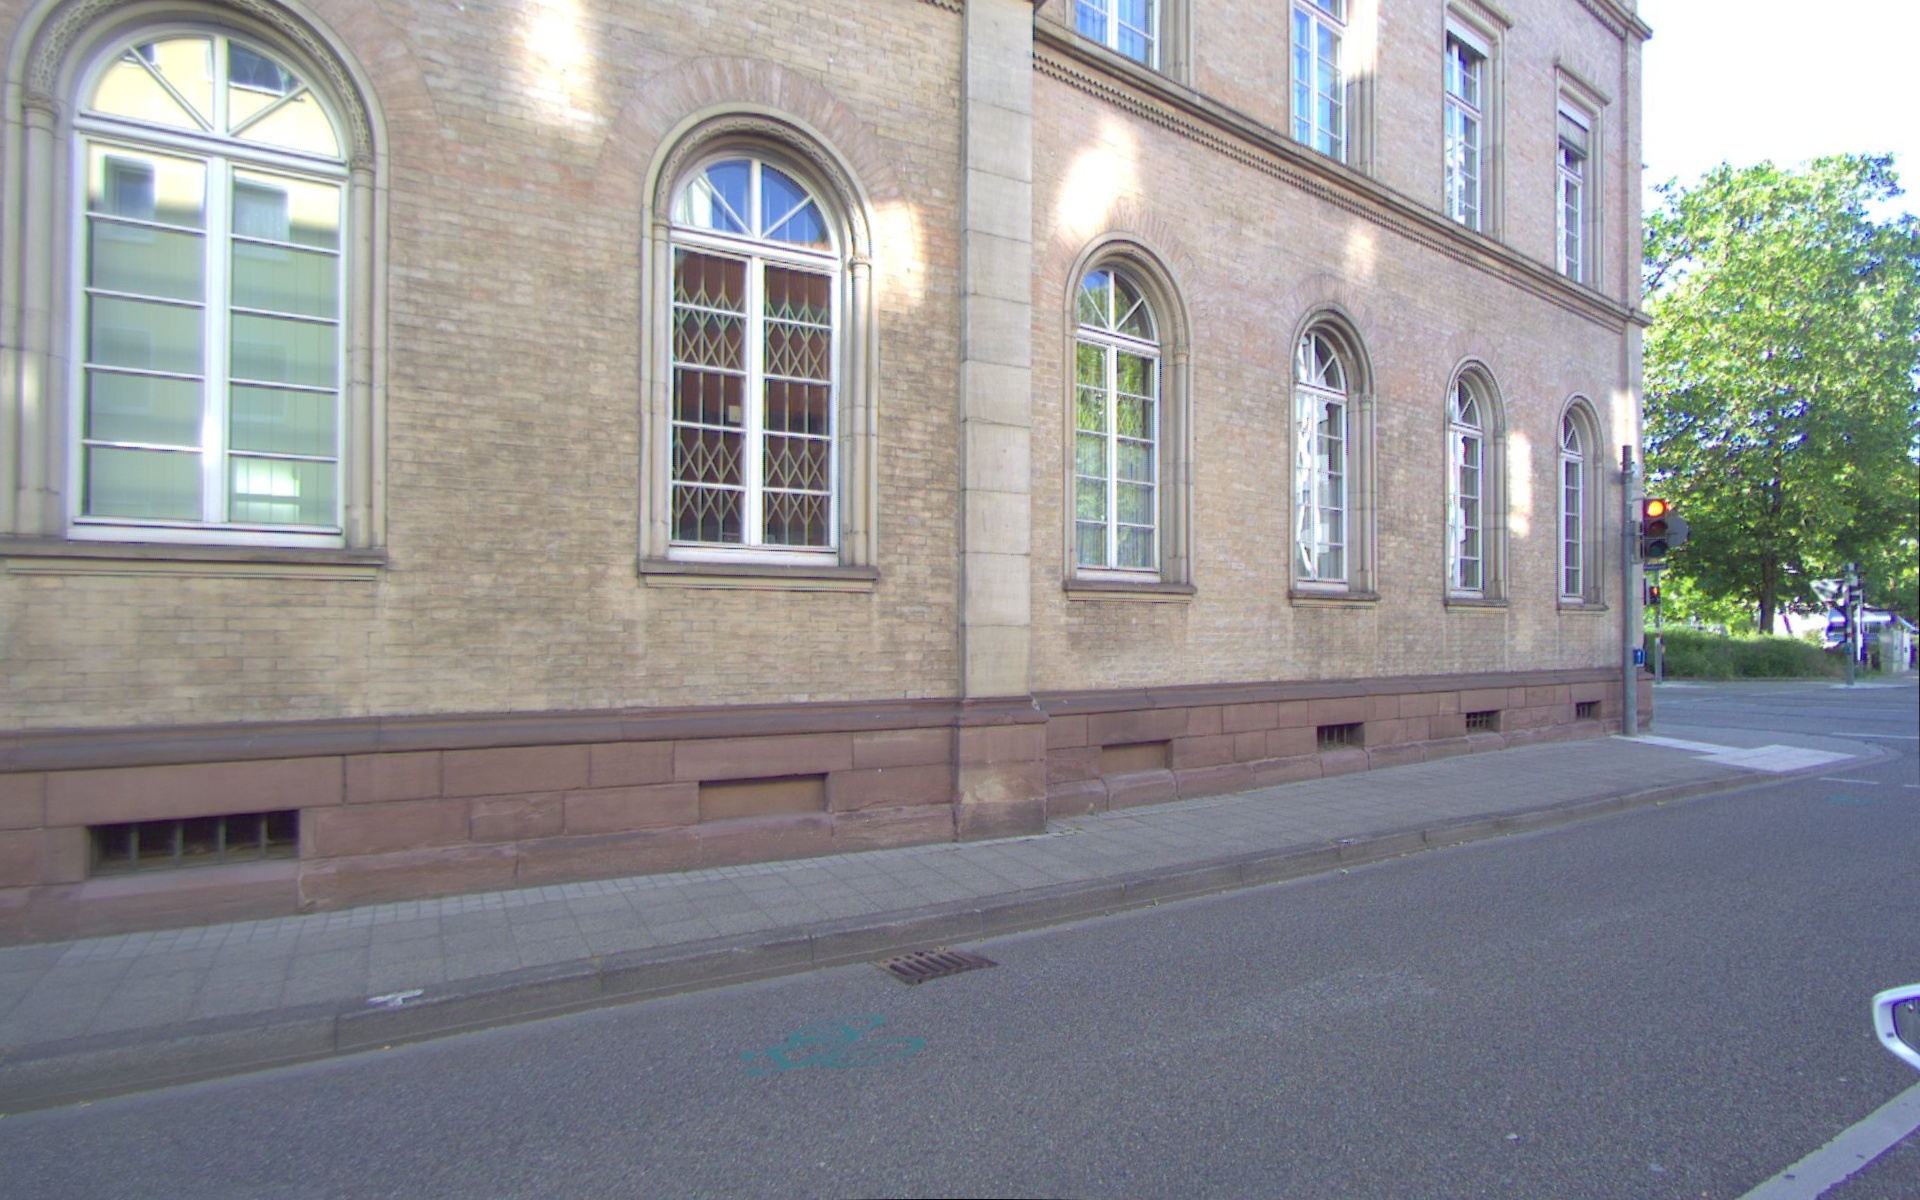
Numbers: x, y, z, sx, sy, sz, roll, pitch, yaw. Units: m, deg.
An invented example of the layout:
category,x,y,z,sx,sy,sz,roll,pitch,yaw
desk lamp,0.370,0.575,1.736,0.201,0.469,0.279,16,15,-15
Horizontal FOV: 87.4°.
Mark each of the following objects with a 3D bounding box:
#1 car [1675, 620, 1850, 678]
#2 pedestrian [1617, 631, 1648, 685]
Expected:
category,x,y,z,sx,sy,sz,roll,pitch,yaw
car,26.334,1.563,33.092,1.888,1.801,4.193,1,-2,-37
pedestrian,20.533,1.751,30.693,0.701,1.620,0.616,0,-1,27
